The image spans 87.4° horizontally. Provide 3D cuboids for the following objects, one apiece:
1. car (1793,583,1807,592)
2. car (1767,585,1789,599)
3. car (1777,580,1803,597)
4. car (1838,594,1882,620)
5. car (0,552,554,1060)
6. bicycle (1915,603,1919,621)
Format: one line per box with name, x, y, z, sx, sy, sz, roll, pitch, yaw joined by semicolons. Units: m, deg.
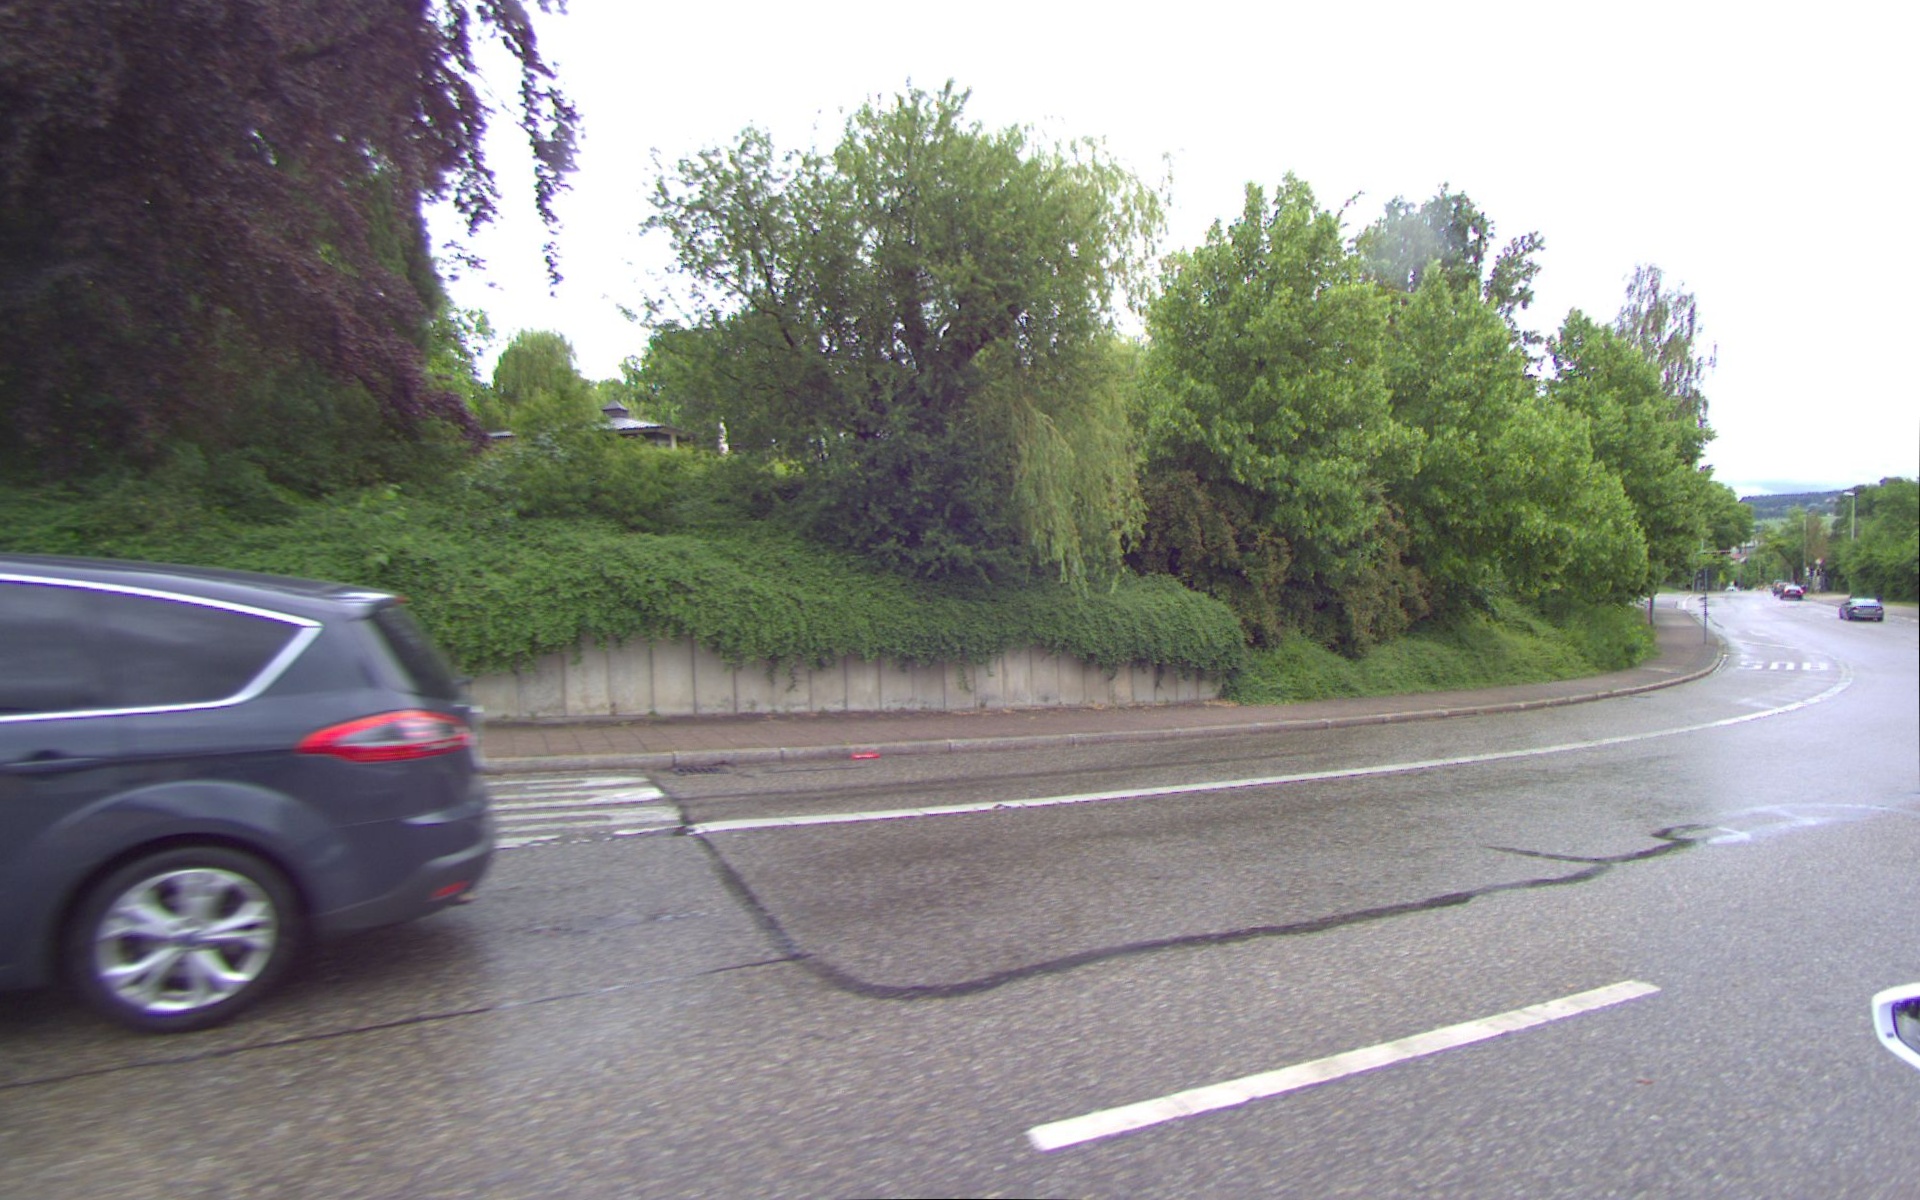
car;133.798;-1.984;160.020;1.701;1.484;3.982;-1;1;39
car;92.318;-0.918;113.407;1.699;1.484;3.984;5;4;37
car;82.649;-1.168;100.078;1.699;1.484;3.984;5;4;37
car;59.117;0.411;66.019;1.699;1.484;3.984;5;4;37
car;-4.042;0.632;3.624;4.627;1.598;1.803;1;0;-28
bicycle;63.875;0.810;65.734;0.838;1.171;2.038;0;0;-1
